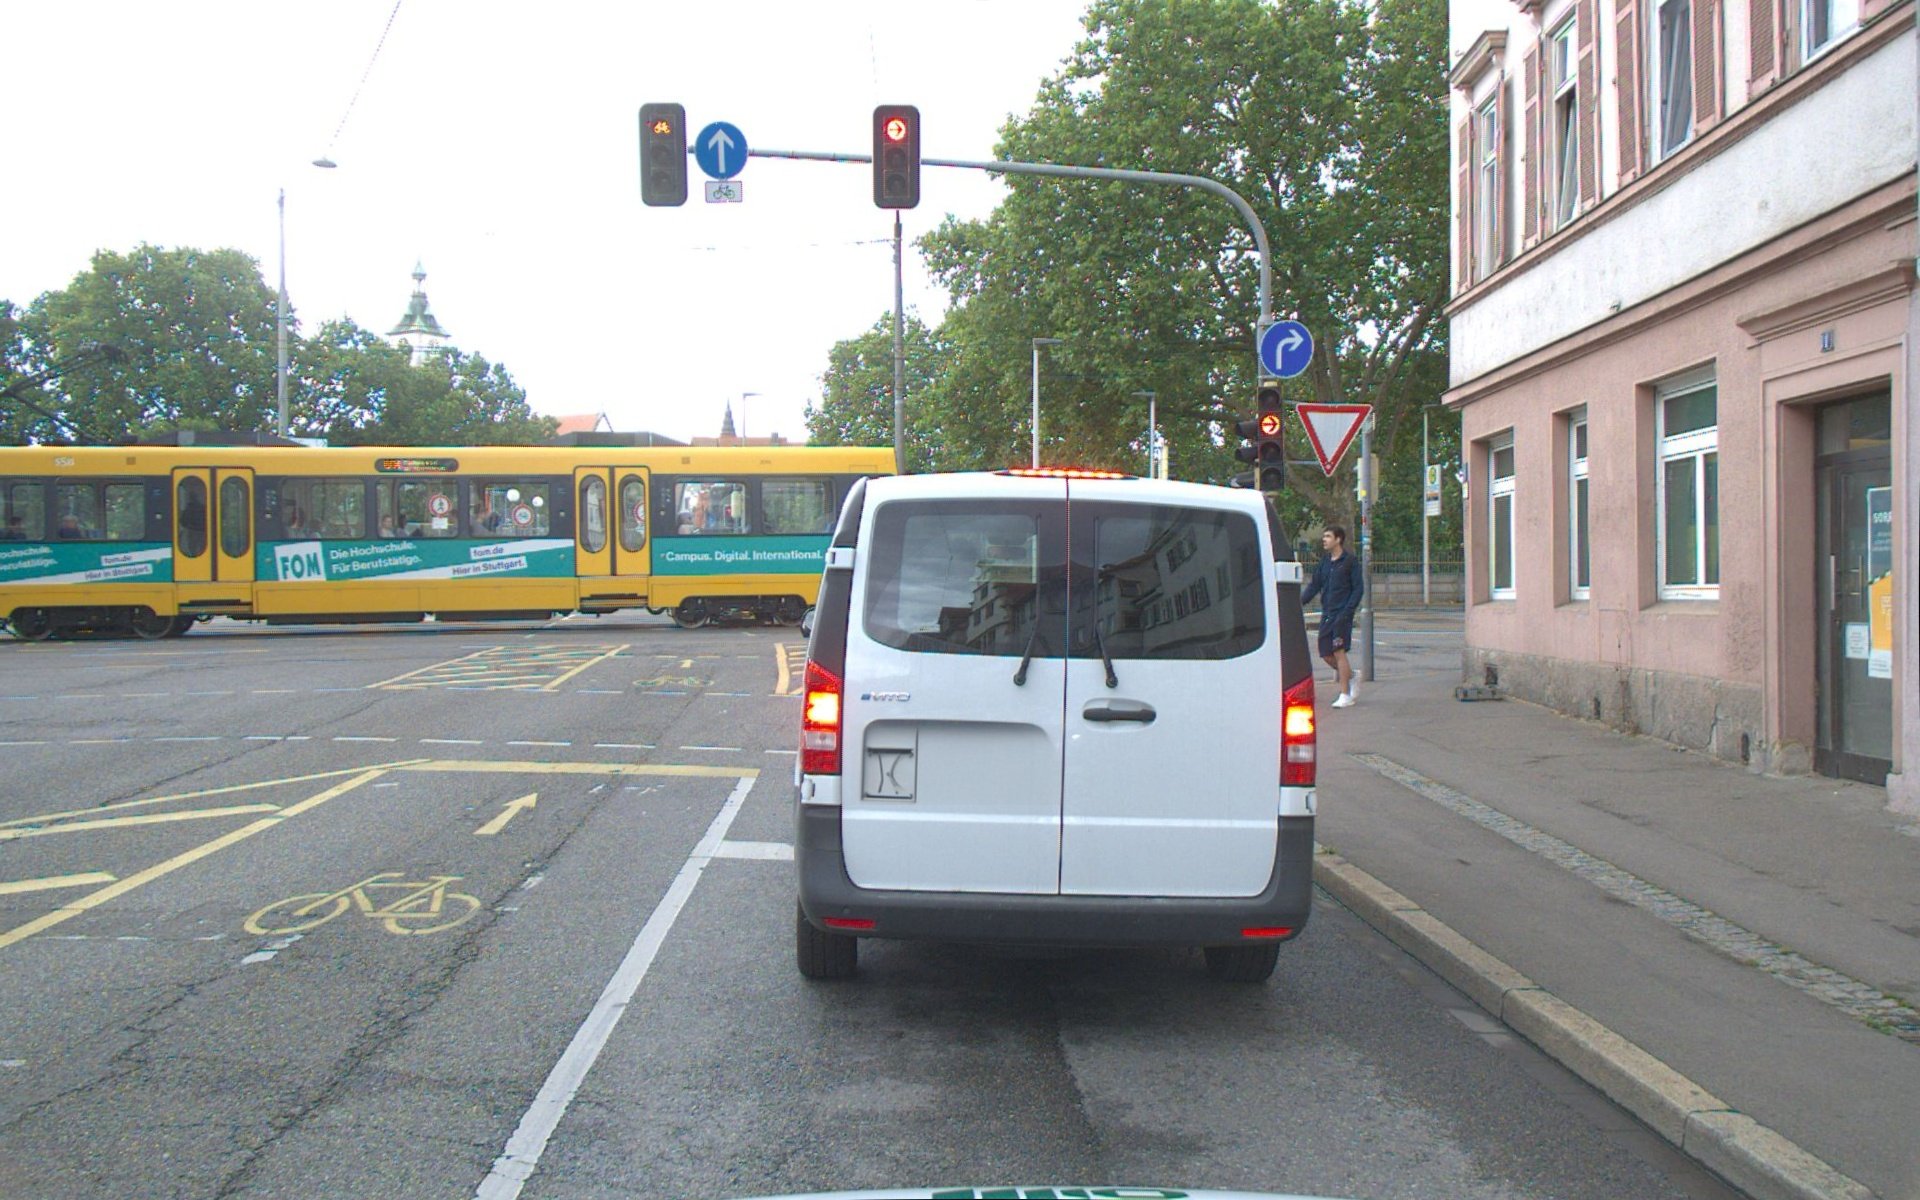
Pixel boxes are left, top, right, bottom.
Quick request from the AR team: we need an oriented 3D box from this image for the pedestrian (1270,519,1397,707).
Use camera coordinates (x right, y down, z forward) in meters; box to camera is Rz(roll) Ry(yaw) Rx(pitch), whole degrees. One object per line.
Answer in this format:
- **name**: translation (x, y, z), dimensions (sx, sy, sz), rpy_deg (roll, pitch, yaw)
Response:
- **pedestrian**: translation (3.902, 0.117, 17.290), dimensions (1.139, 1.888, 0.671), rpy_deg (-2, 1, -34)

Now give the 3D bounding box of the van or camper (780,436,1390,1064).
- **van or camper**: translation (0.259, 0.406, 7.429), dimensions (1.899, 1.958, 4.438), rpy_deg (1, 2, -4)

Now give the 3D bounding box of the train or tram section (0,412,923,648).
- **train or tram section**: translation (-10.084, -1.456, 32.162), dimensions (18.431, 4.072, 3.258), rpy_deg (-1, 3, -11)
